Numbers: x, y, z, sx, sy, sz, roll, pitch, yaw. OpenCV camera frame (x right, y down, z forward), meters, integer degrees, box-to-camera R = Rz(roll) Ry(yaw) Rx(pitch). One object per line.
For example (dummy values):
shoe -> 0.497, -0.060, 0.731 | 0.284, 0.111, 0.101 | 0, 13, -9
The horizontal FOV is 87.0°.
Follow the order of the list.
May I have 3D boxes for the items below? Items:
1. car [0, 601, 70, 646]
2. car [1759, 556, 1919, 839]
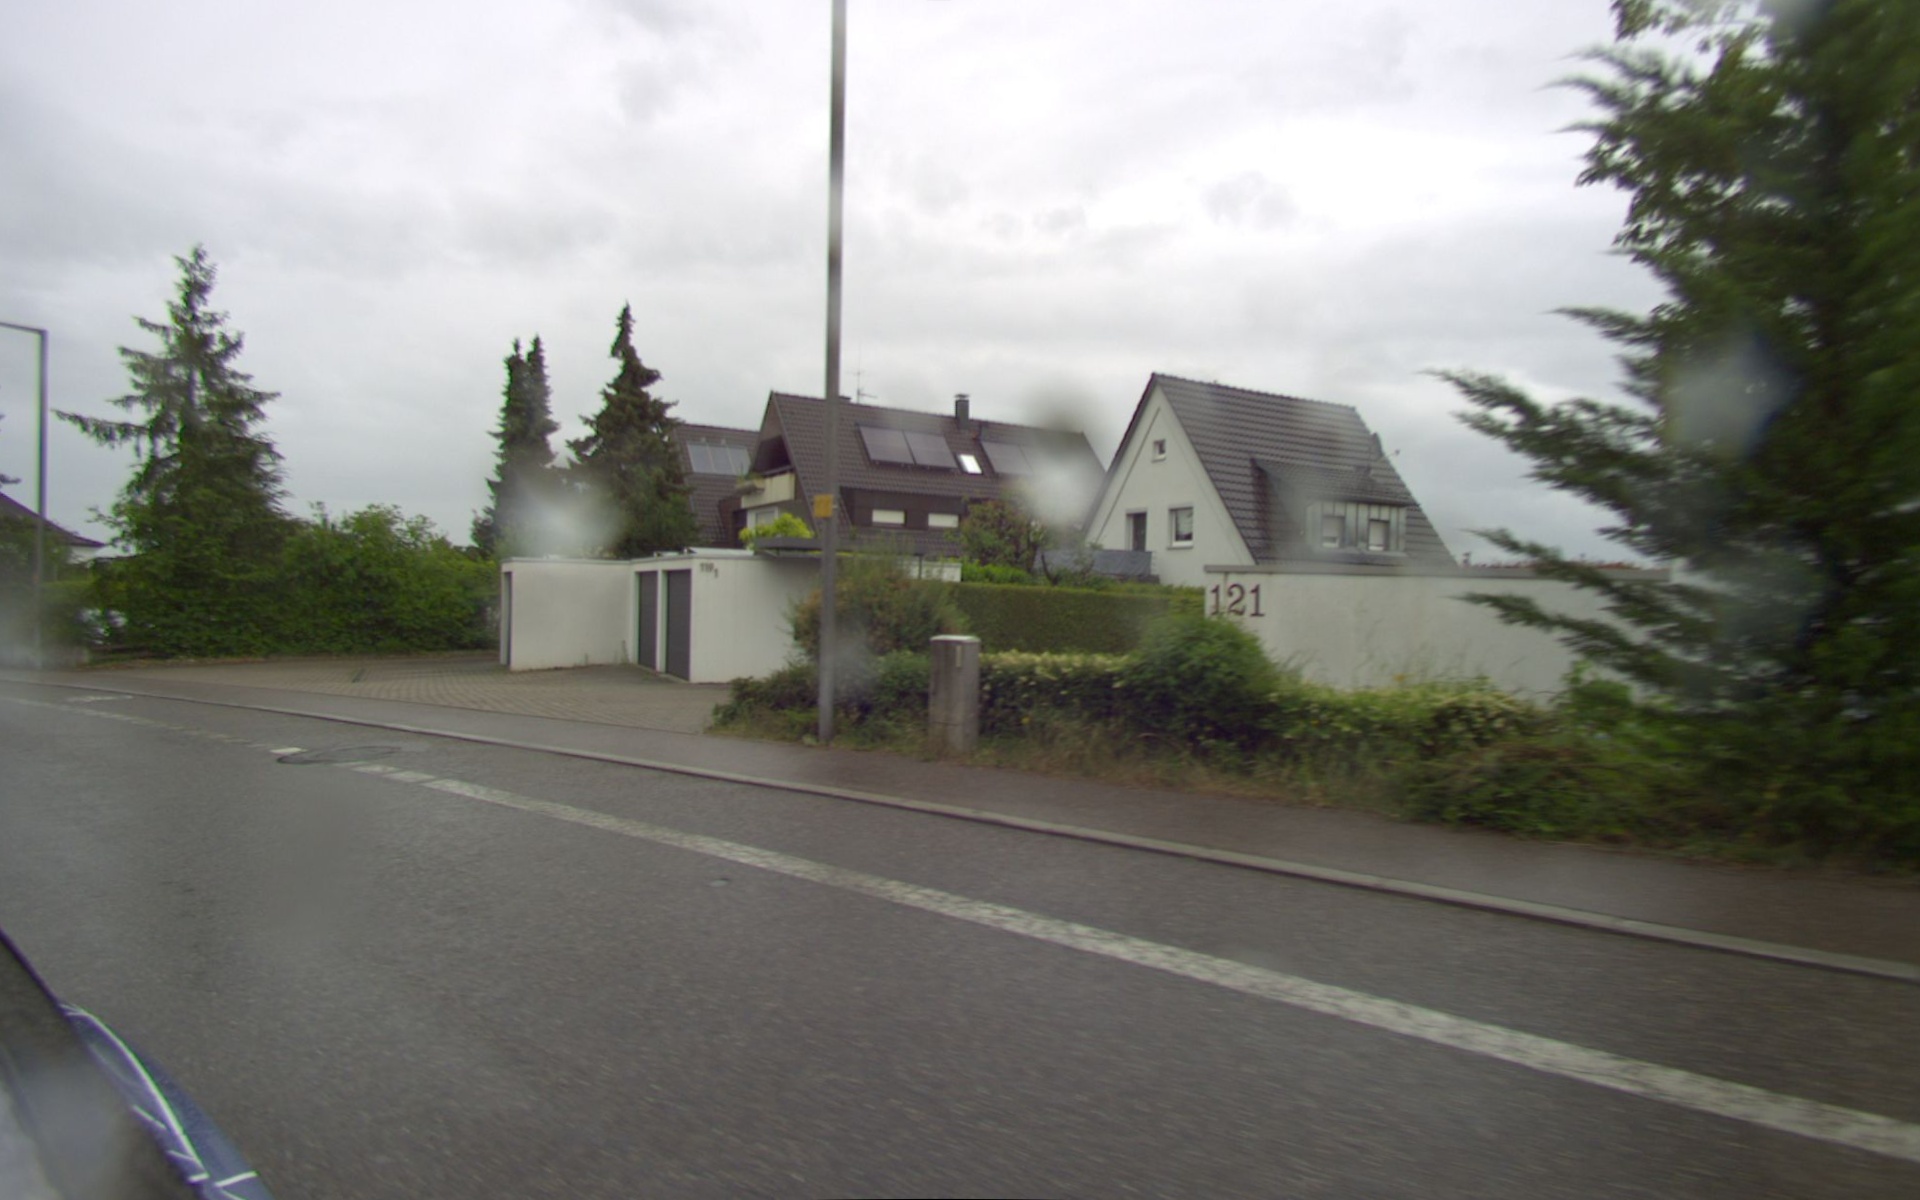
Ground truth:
car -> -35.465, 0.867, 38.637 | 4.002, 1.586, 1.971 | -1, 0, 45
car -> 6.821, 0.511, 4.833 | 1.682, 1.565, 4.400 | -1, 0, -34
